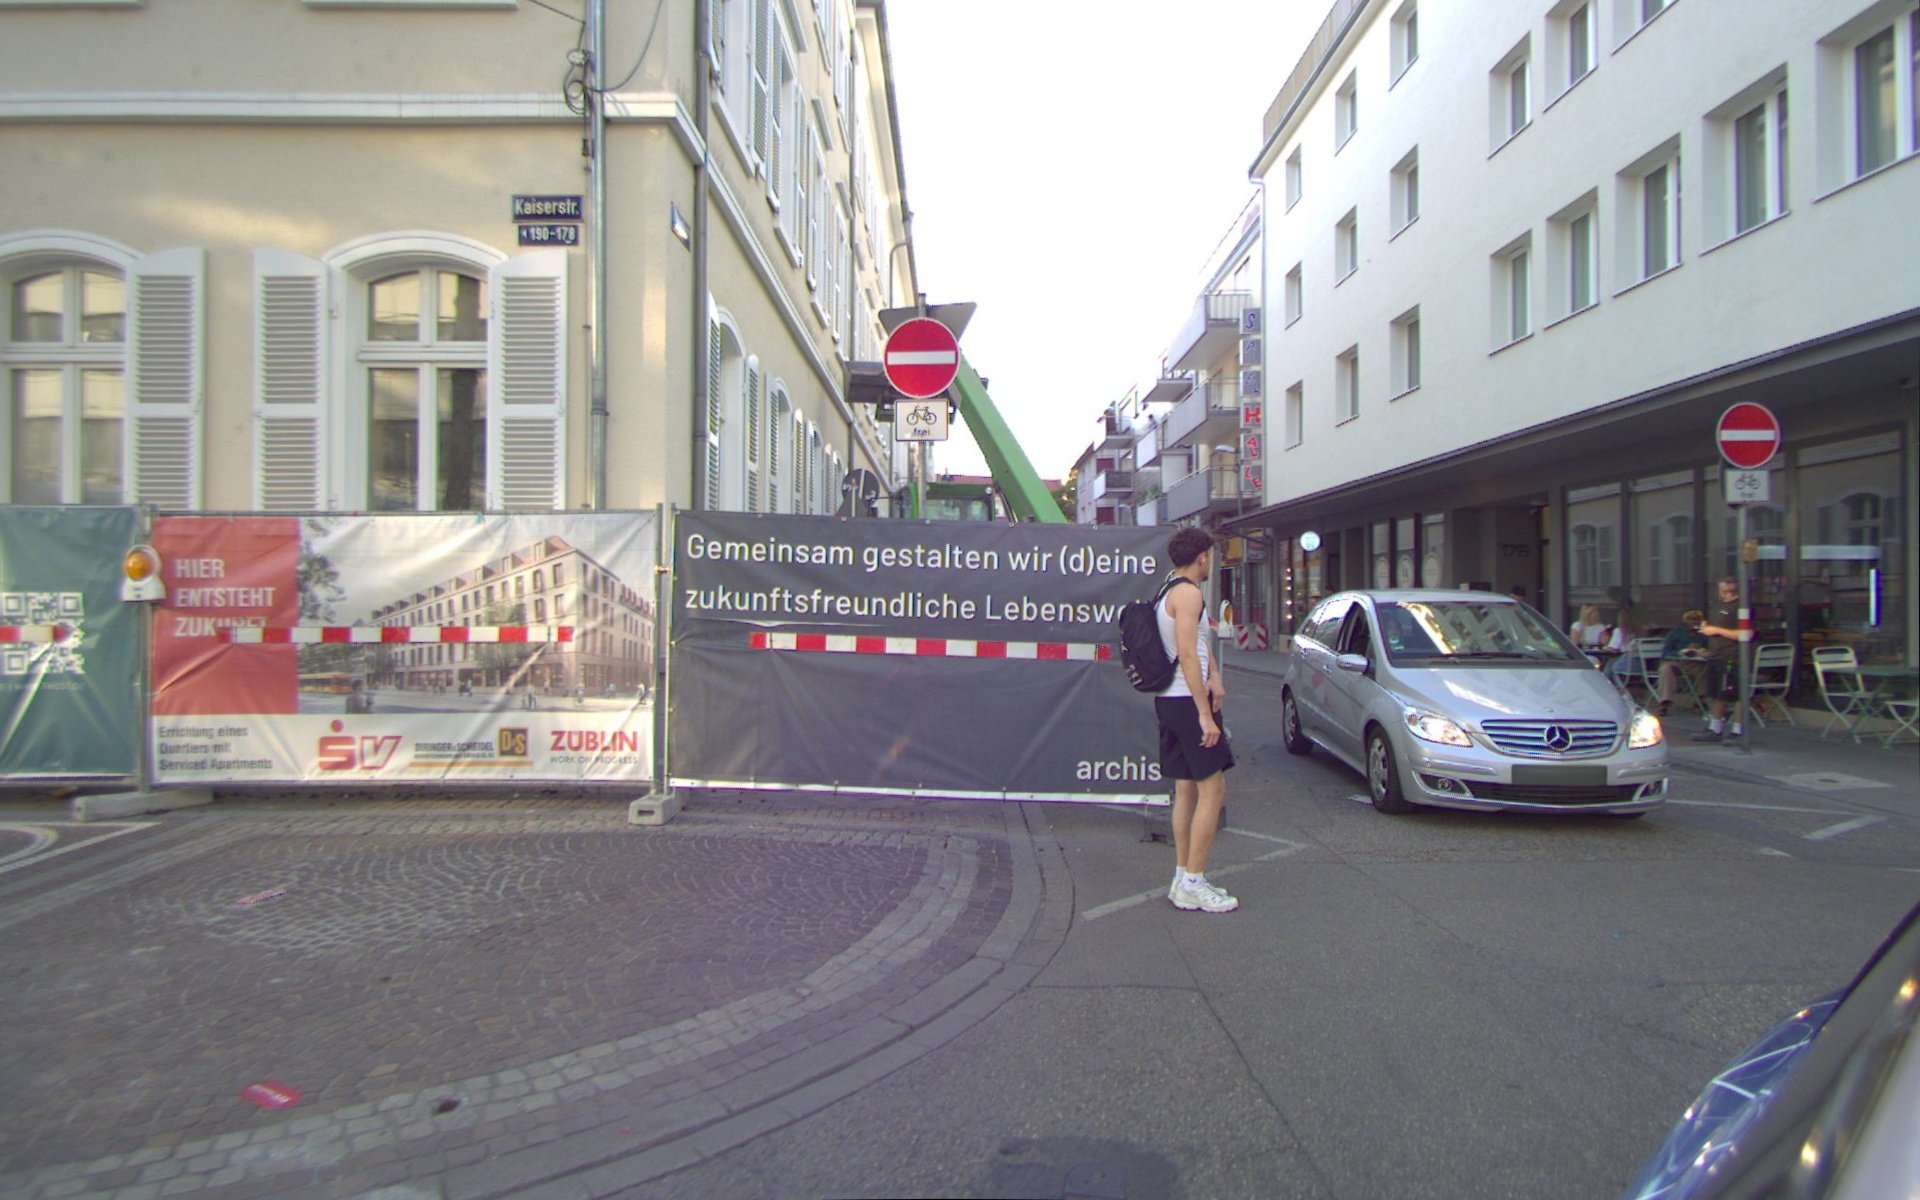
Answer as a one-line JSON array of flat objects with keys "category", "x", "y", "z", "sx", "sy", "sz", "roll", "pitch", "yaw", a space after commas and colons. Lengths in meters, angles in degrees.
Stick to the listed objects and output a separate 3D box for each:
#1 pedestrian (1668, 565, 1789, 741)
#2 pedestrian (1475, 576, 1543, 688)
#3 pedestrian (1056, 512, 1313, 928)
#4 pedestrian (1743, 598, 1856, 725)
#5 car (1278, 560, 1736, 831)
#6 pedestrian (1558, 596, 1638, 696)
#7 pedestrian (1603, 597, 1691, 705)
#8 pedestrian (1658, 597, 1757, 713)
[{"category": "pedestrian", "x": 7.475, "y": 0.494, "z": 9.866, "sx": 0.612, "sy": 1.657, "sz": 0.717, "roll": 0, "pitch": 0, "yaw": -2}, {"category": "pedestrian", "x": 8.287, "y": 0.471, "z": 15.286, "sx": 0.612, "sy": 1.657, "sz": 0.717, "roll": 0, "pitch": 0, "yaw": -2}, {"category": "pedestrian", "x": 1.061, "y": 0.549, "z": 5.022, "sx": 1.053, "sy": 1.838, "sz": 0.944, "roll": -2, "pitch": -1, "yaw": 8}, {"category": "pedestrian", "x": 9.145, "y": 0.651, "z": 11.042, "sx": 0.704, "sy": 1.346, "sz": 0.624, "roll": 0, "pitch": 0, "yaw": 1}, {"category": "car", "x": 3.982, "y": 0.590, "z": 8.239, "sx": 1.834, "sy": 1.629, "sz": 3.936, "roll": -2, "pitch": 0, "yaw": 6}, {"category": "pedestrian", "x": 8.802, "y": 0.625, "z": 13.992, "sx": 0.704, "sy": 1.346, "sz": 0.624, "roll": 0, "pitch": 0, "yaw": 1}, {"category": "pedestrian", "x": 8.813, "y": 0.634, "z": 13.005, "sx": 0.704, "sy": 1.346, "sz": 0.624, "roll": 0, "pitch": 0, "yaw": 1}, {"category": "pedestrian", "x": 8.948, "y": 0.642, "z": 12.134, "sx": 0.704, "sy": 1.346, "sz": 0.624, "roll": 0, "pitch": 0, "yaw": 1}]
